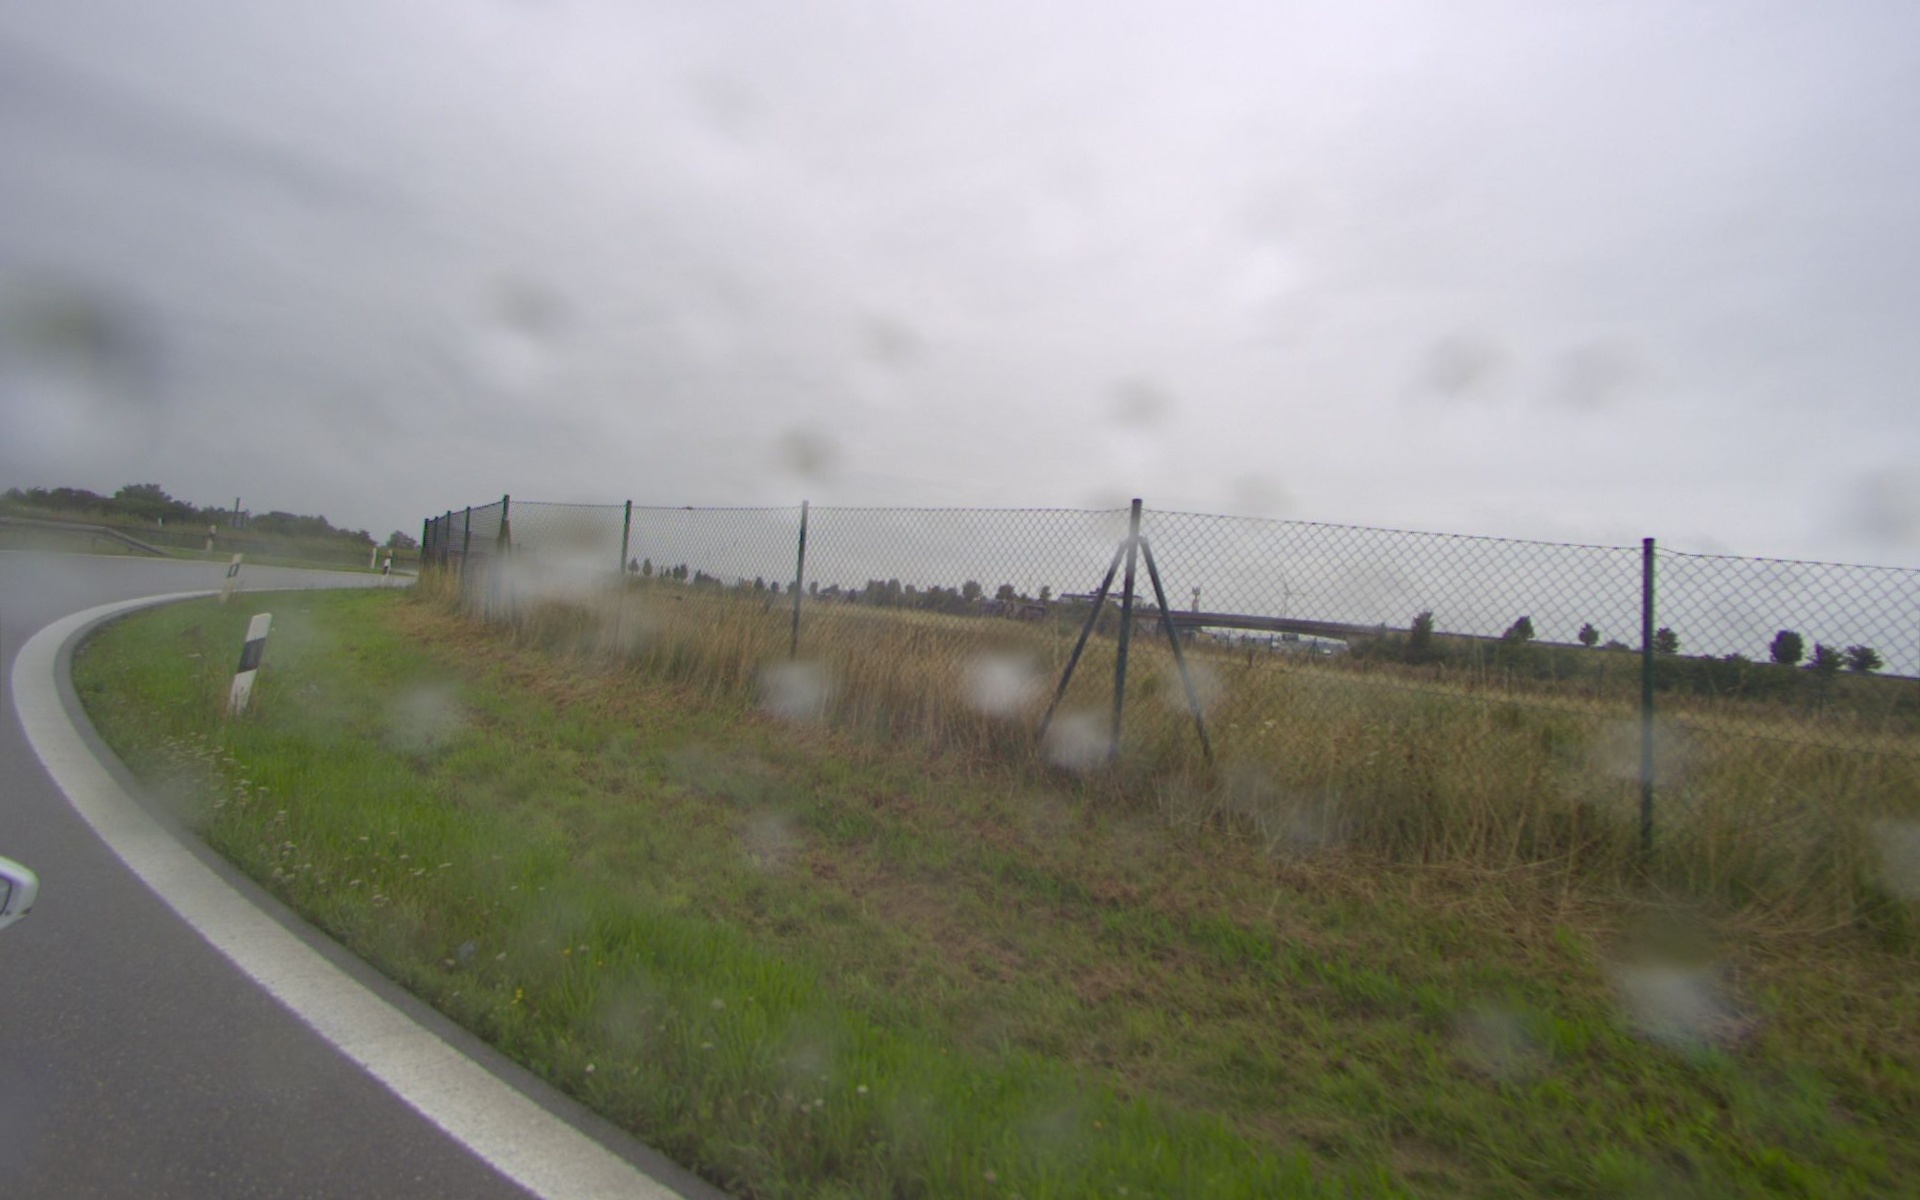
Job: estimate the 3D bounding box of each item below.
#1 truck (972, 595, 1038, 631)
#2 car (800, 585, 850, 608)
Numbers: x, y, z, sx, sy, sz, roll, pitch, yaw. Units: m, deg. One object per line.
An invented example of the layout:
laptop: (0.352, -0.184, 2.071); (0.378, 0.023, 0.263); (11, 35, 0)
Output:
truck: (6.614, 1.935, 143.682); (3.150, 4.015, 13.792); (8, 0, 29)
car: (-11.049, -0.262, 82.588); (1.967, 1.719, 3.990); (3, 0, 29)
